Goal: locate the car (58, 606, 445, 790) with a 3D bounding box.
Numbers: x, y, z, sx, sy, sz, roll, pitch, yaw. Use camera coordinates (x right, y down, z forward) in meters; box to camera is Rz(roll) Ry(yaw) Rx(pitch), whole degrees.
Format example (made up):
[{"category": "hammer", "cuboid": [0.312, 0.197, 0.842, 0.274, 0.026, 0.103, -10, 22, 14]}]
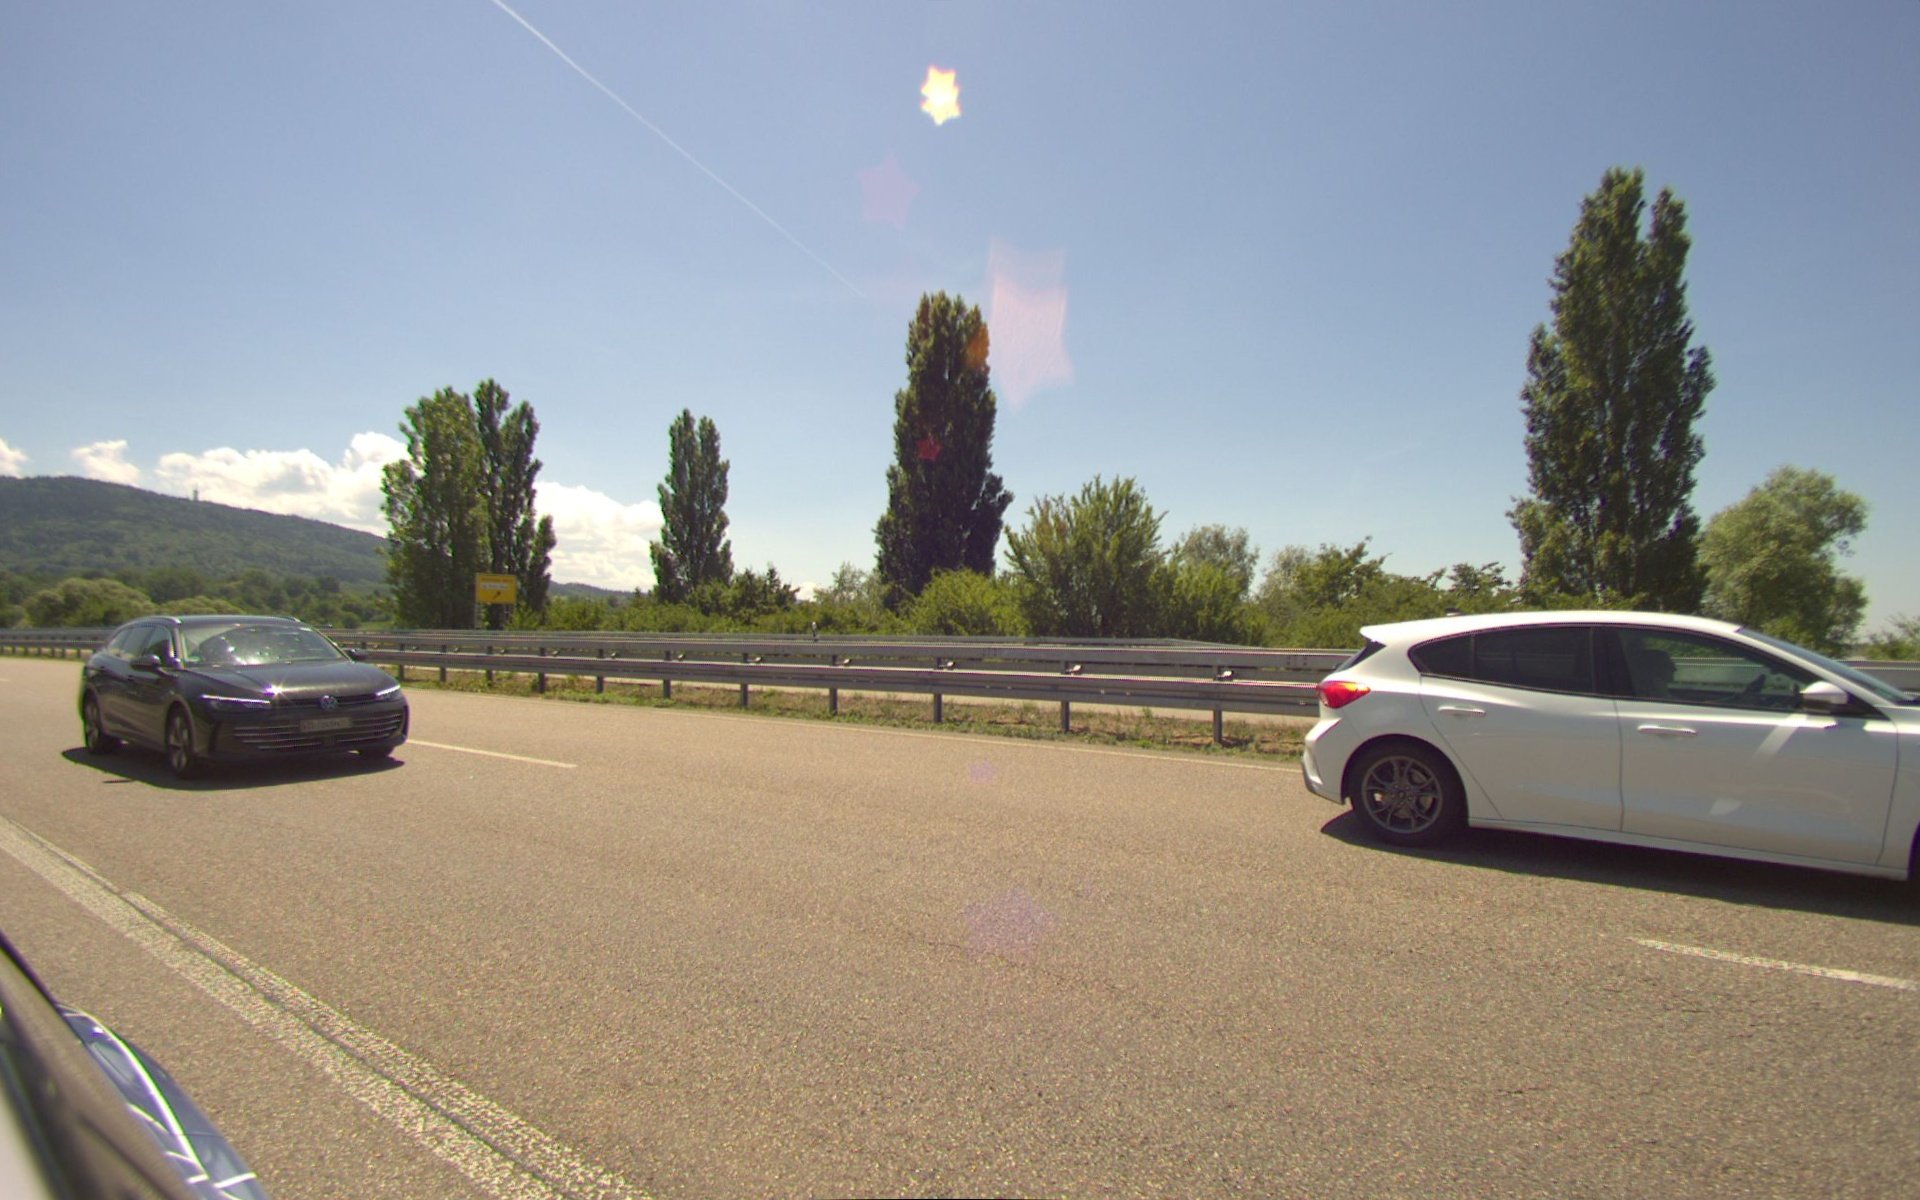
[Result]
[{"category": "car", "cuboid": [-7.488, 0.838, 10.492, 4.996, 1.492, 1.867, -1, -1, 37]}]
